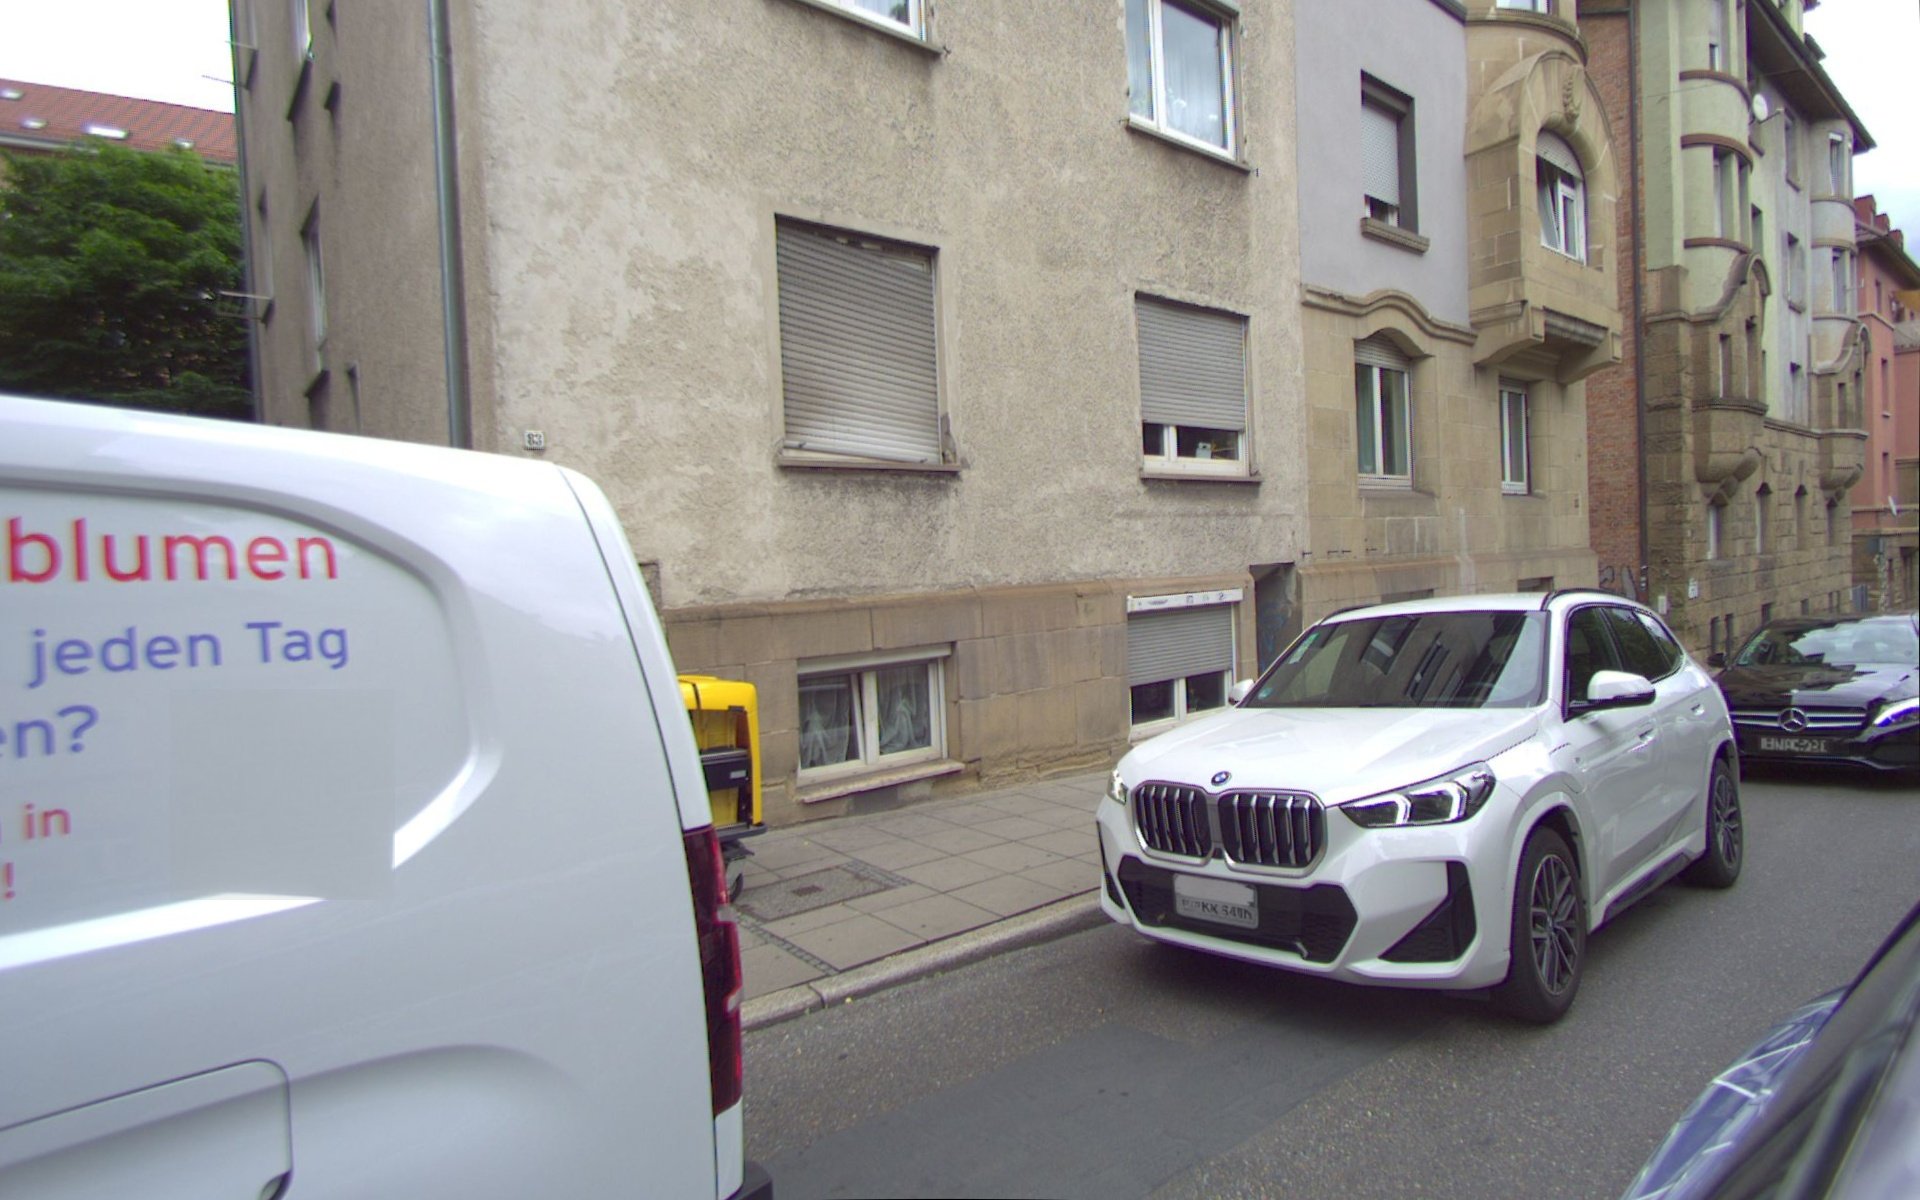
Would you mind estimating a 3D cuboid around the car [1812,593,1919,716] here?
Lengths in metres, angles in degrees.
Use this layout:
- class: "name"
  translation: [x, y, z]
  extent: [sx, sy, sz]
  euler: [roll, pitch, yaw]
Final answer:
- class: "car"
  translation: [13.525, 0.654, 13.939]
  extent: [4.226, 1.534, 1.935]
  euler: [-1, -3, -40]

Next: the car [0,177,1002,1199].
- class: "car"
  translation: [-2.299, 0.571, 0.908]
  extent: [4.597, 1.798, 1.977]
  euler: [-1, -3, -42]

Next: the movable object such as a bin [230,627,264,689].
- class: "movable object such as a bin"
  translation: [-10.979, 0.886, 15.586]
  extent: [0.405, 0.923, 0.340]
  euler: [0, 0, -40]

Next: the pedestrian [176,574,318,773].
- class: "pedestrian"
  translation: [-6.543, 0.630, 9.288]
  extent: [0.808, 1.666, 0.773]
  euler: [0, 6, 42]

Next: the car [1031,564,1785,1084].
- class: "car"
  translation: [2.563, 0.718, 5.219]
  extent: [4.276, 1.576, 1.857]
  euler: [-1, -4, -42]

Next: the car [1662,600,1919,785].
- class: "car"
  translation: [8.458, 0.737, 9.638]
  extent: [4.133, 1.395, 1.882]
  euler: [-1, -3, -41]

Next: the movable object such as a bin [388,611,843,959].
- class: "movable object such as a bin"
  translation: [-1.787, 0.792, 5.390]
  extent: [1.979, 1.391, 1.223]
  euler: [-1, 2, -43]
